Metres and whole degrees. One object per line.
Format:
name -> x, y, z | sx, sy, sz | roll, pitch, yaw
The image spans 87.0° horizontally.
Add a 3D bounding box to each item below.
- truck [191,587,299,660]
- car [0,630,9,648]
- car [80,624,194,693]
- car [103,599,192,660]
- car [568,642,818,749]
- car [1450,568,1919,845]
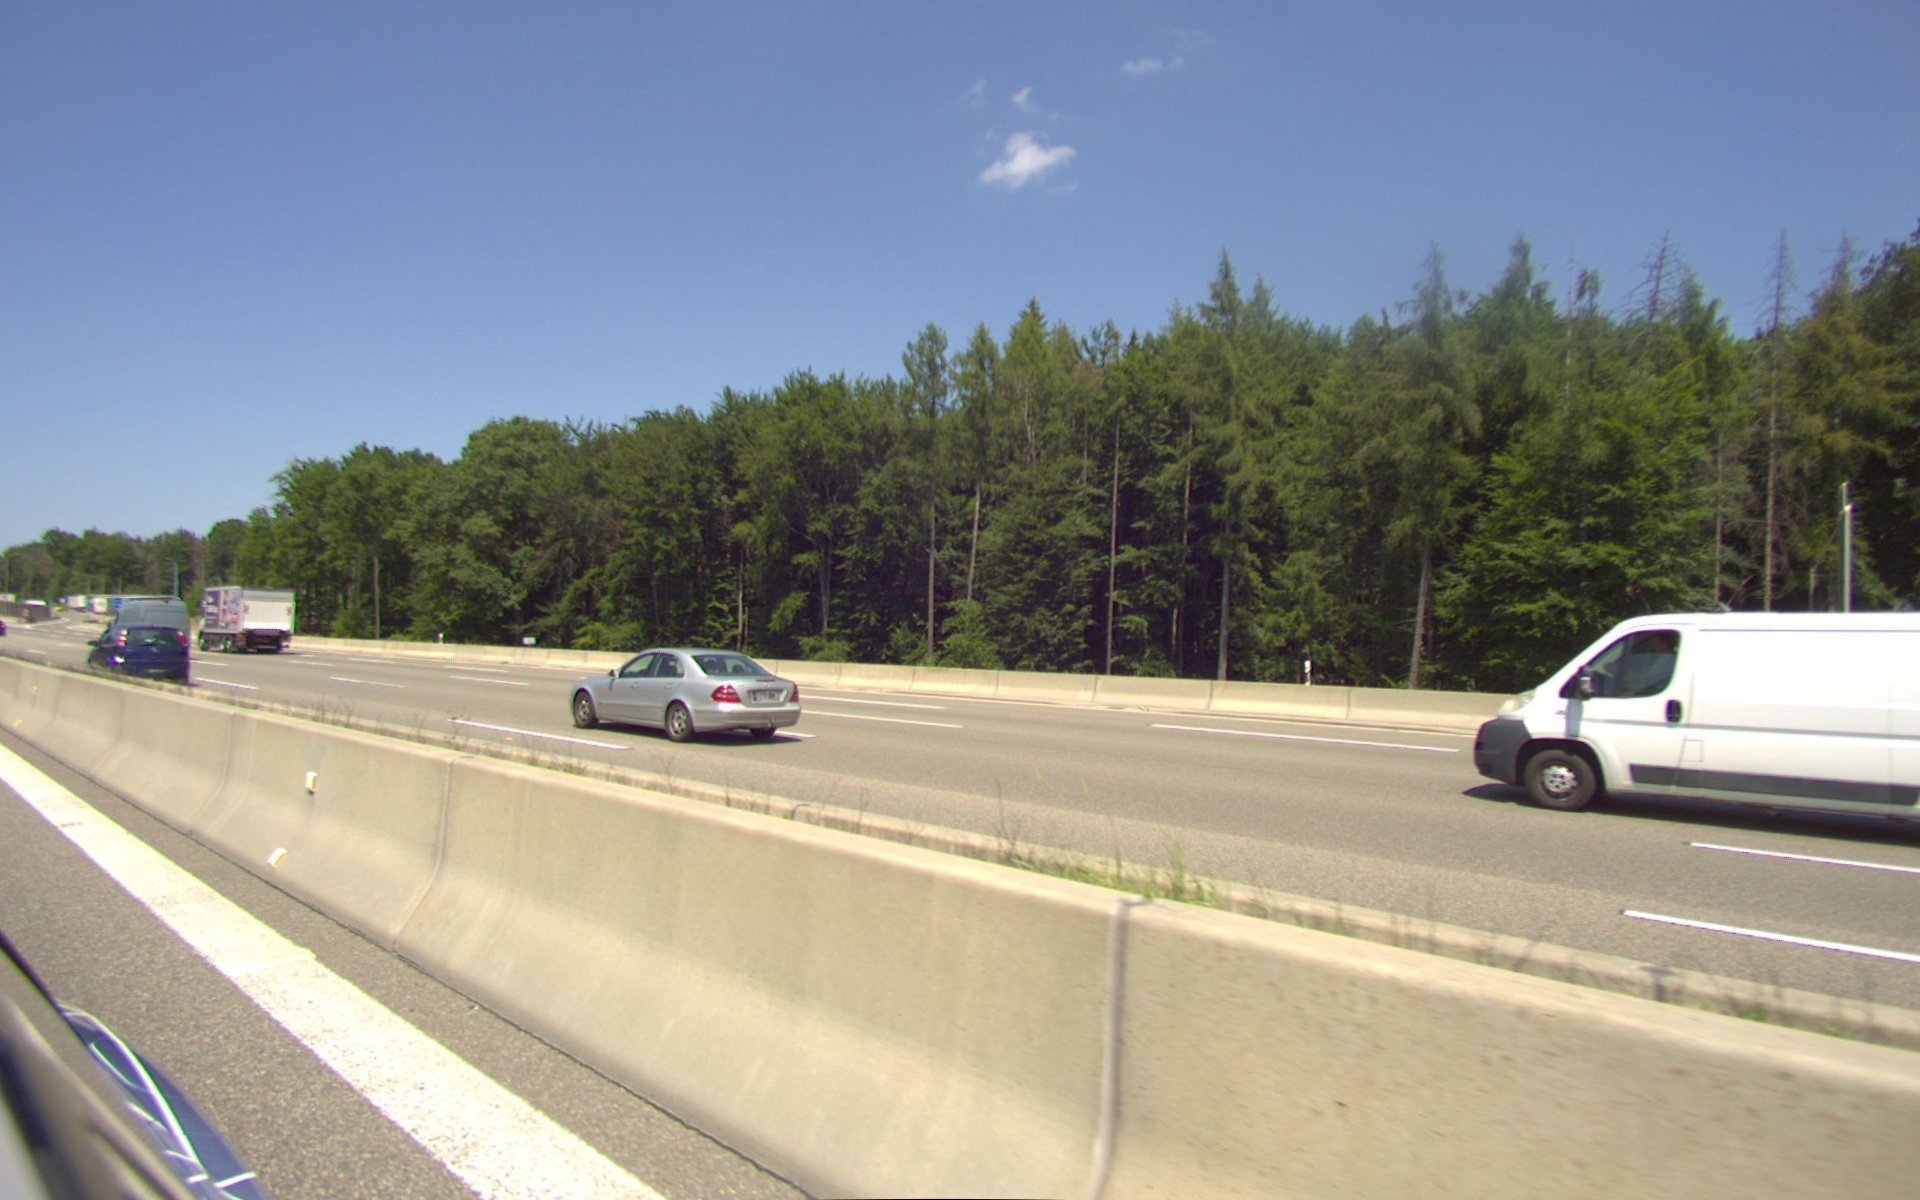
truck -> -41.904, 1.313, 59.126 | 10.231, 3.969, 2.691 | 0, -2, 41
car -> -83.283, 3.334, 86.935 | 4.904, 1.460, 1.700 | -1, -3, 40
car -> -21.726, 1.495, 26.678 | 3.758, 1.674, 1.687 | -1, -2, 41
car -> -37.784, 1.392, 46.953 | 7.226, 2.627, 1.910 | -1, -3, 41
car -> -4.458, 1.463, 16.516 | 4.524, 1.455, 1.661 | -1, -4, 41
car -> 8.664, 0.996, 9.994 | 6.623, 2.431, 1.910 | 0, -4, 41
